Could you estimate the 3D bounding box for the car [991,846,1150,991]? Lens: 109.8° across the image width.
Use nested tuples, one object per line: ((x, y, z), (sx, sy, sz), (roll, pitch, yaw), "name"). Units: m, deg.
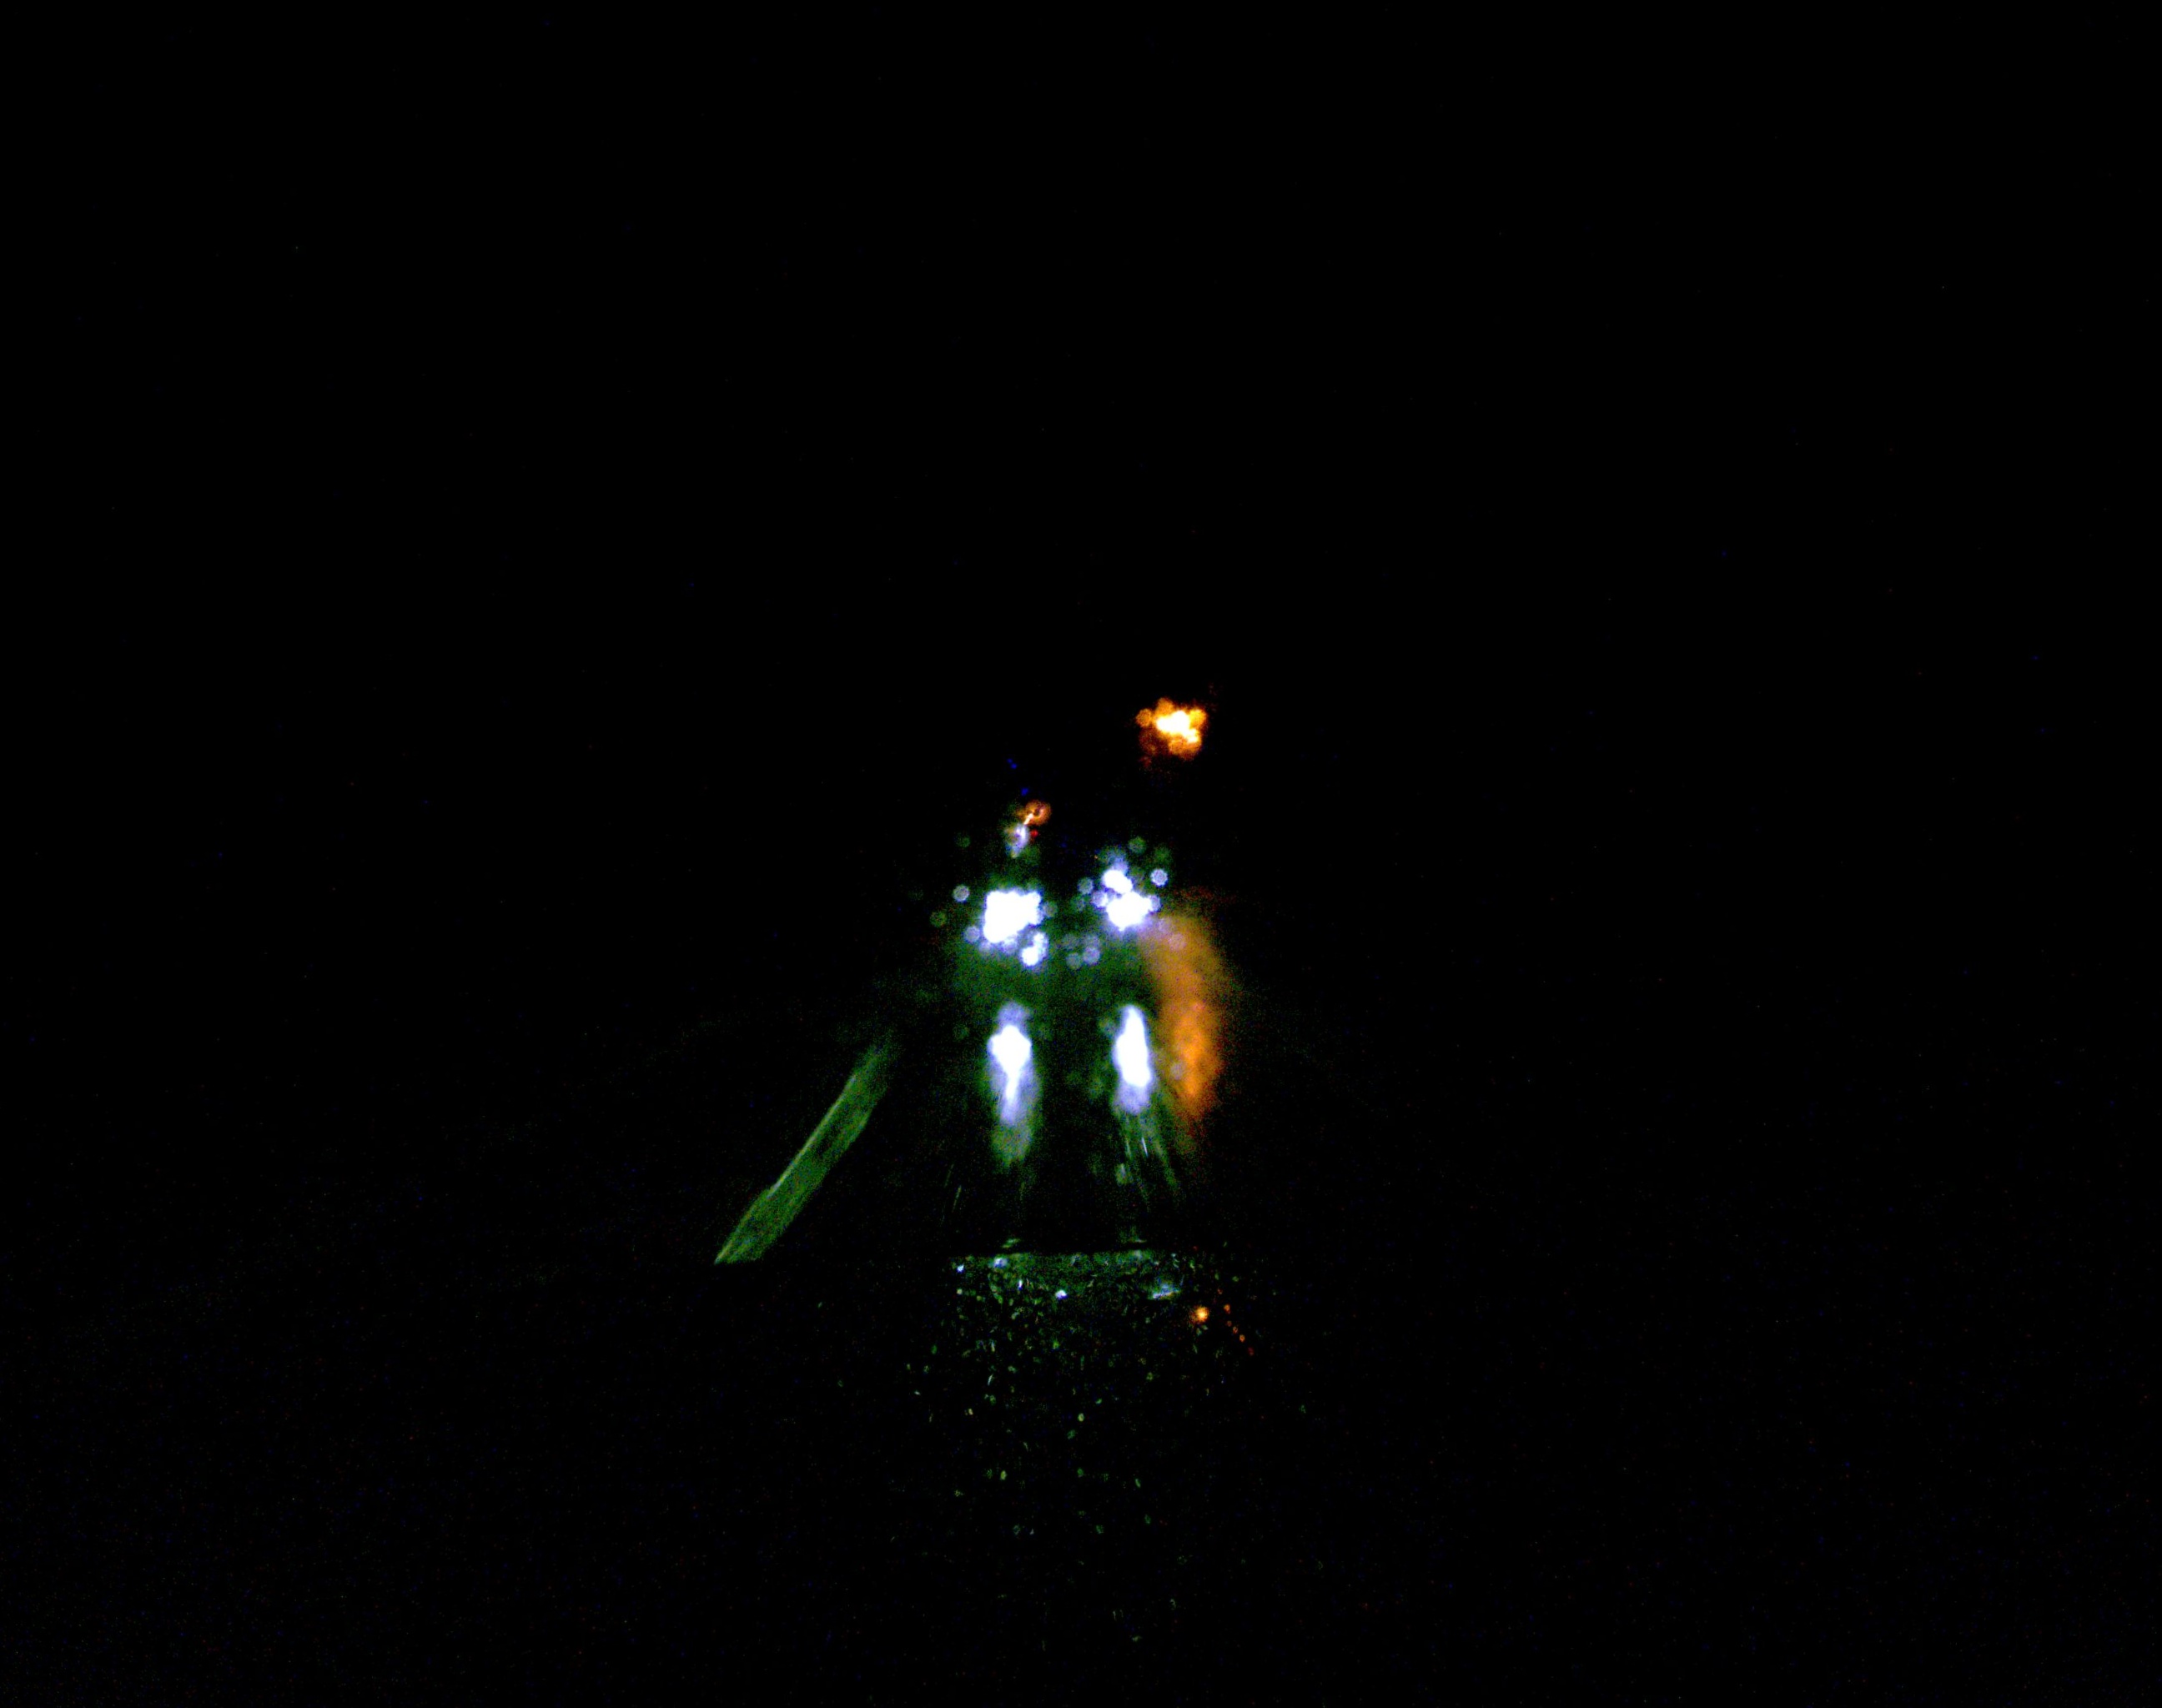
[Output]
((-0.328, 0.768, 11.509), (1.894, 1.678, 4.336), (-3, 1, -6), "car")
